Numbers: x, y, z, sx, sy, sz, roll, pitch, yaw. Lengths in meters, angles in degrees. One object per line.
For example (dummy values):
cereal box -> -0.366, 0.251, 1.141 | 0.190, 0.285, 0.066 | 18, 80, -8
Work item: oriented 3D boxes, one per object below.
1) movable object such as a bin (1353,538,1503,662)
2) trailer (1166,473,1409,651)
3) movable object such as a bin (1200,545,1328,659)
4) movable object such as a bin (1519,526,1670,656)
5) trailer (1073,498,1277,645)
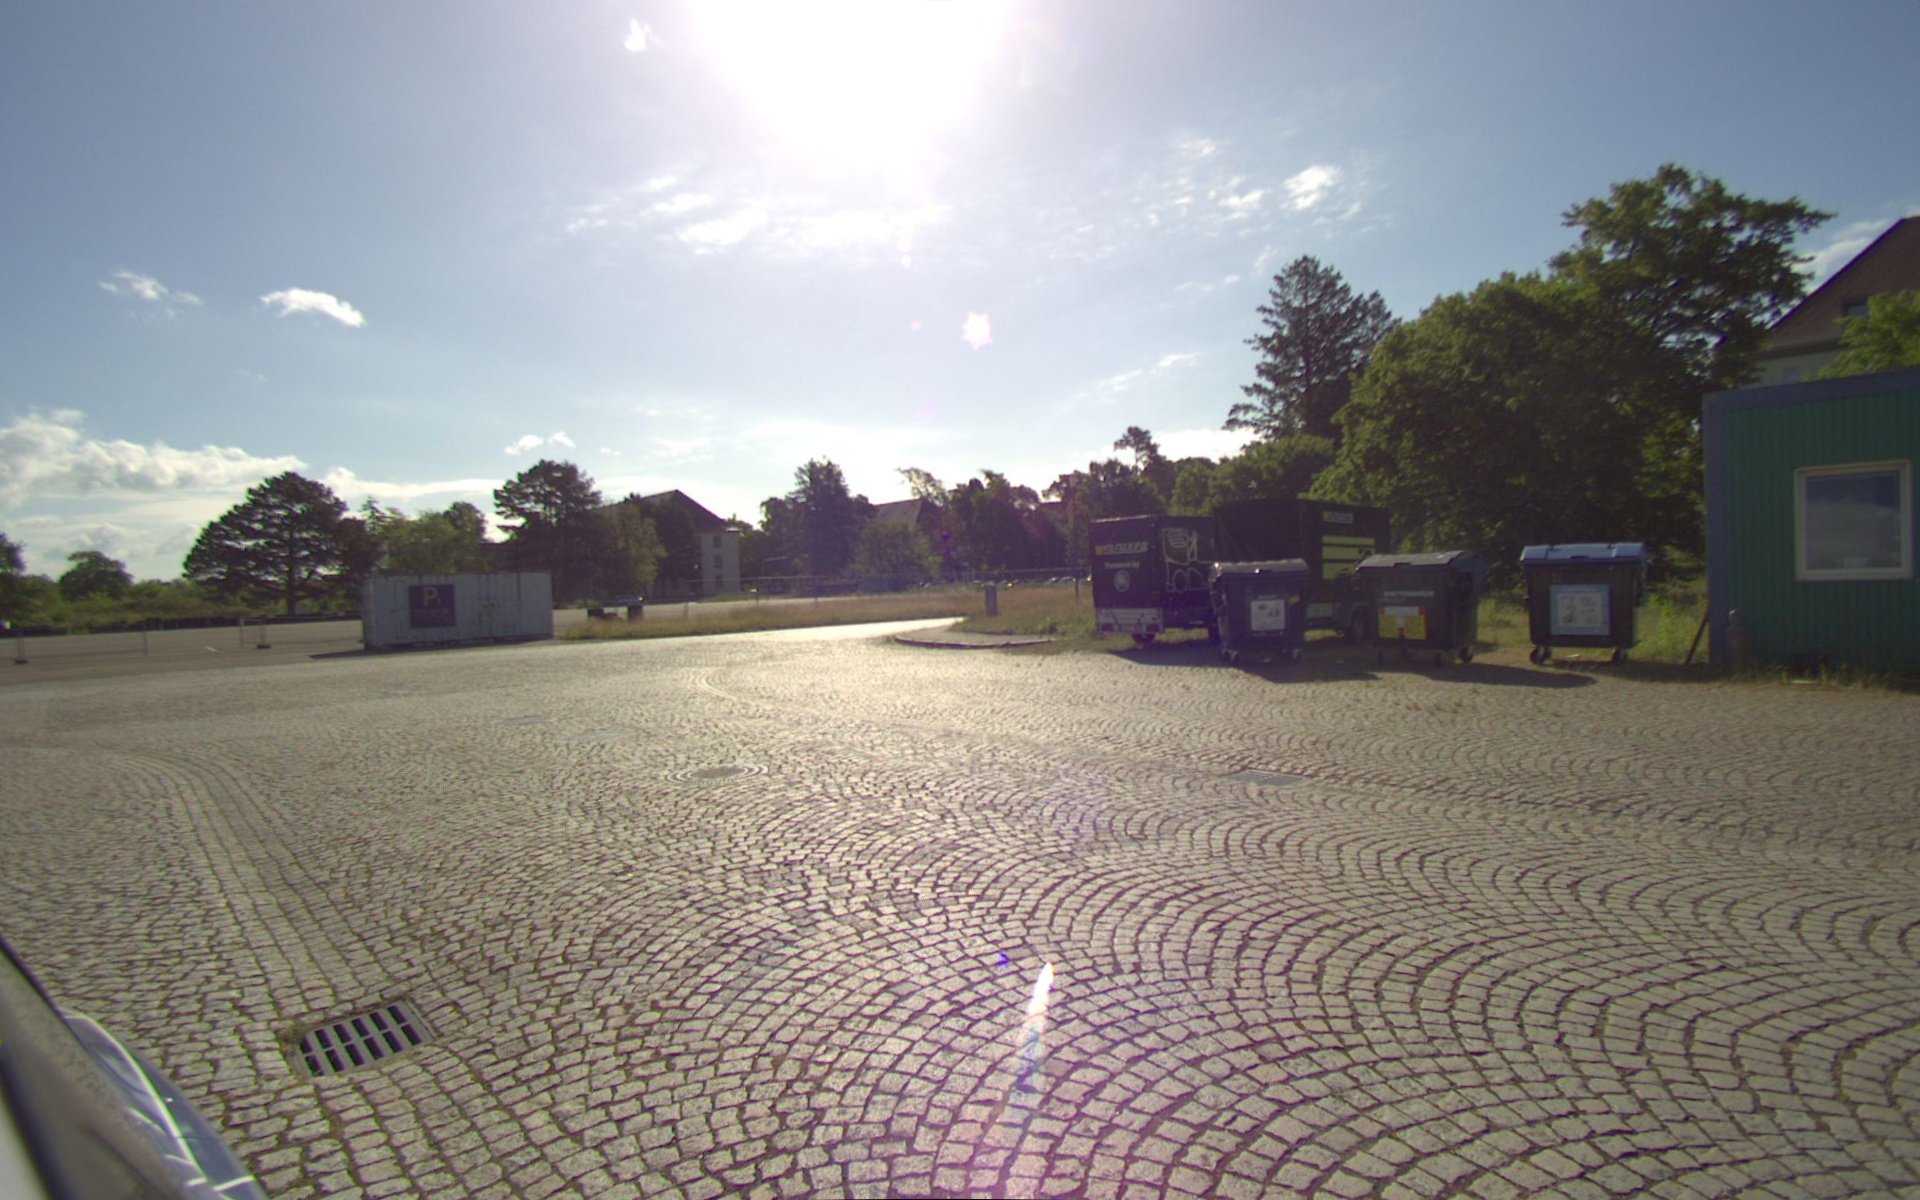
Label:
movable object such as a bin -> 6.016, -0.014, 13.033 | 1.005, 1.468, 1.442 | -5, 3, -41
trailer -> 5.638, -0.689, 17.063 | 1.953, 2.586, 4.585 | -1, 3, 45
movable object such as a bin -> 4.266, 0.007, 14.309 | 1.419, 1.468, 1.155 | -3, 2, 2
movable object such as a bin -> 7.669, -0.119, 12.248 | 1.439, 1.468, 0.874 | -1, 3, 38
trailer -> 4.058, -0.587, 18.939 | 3.343, 2.488, 2.048 | -5, 3, -40
